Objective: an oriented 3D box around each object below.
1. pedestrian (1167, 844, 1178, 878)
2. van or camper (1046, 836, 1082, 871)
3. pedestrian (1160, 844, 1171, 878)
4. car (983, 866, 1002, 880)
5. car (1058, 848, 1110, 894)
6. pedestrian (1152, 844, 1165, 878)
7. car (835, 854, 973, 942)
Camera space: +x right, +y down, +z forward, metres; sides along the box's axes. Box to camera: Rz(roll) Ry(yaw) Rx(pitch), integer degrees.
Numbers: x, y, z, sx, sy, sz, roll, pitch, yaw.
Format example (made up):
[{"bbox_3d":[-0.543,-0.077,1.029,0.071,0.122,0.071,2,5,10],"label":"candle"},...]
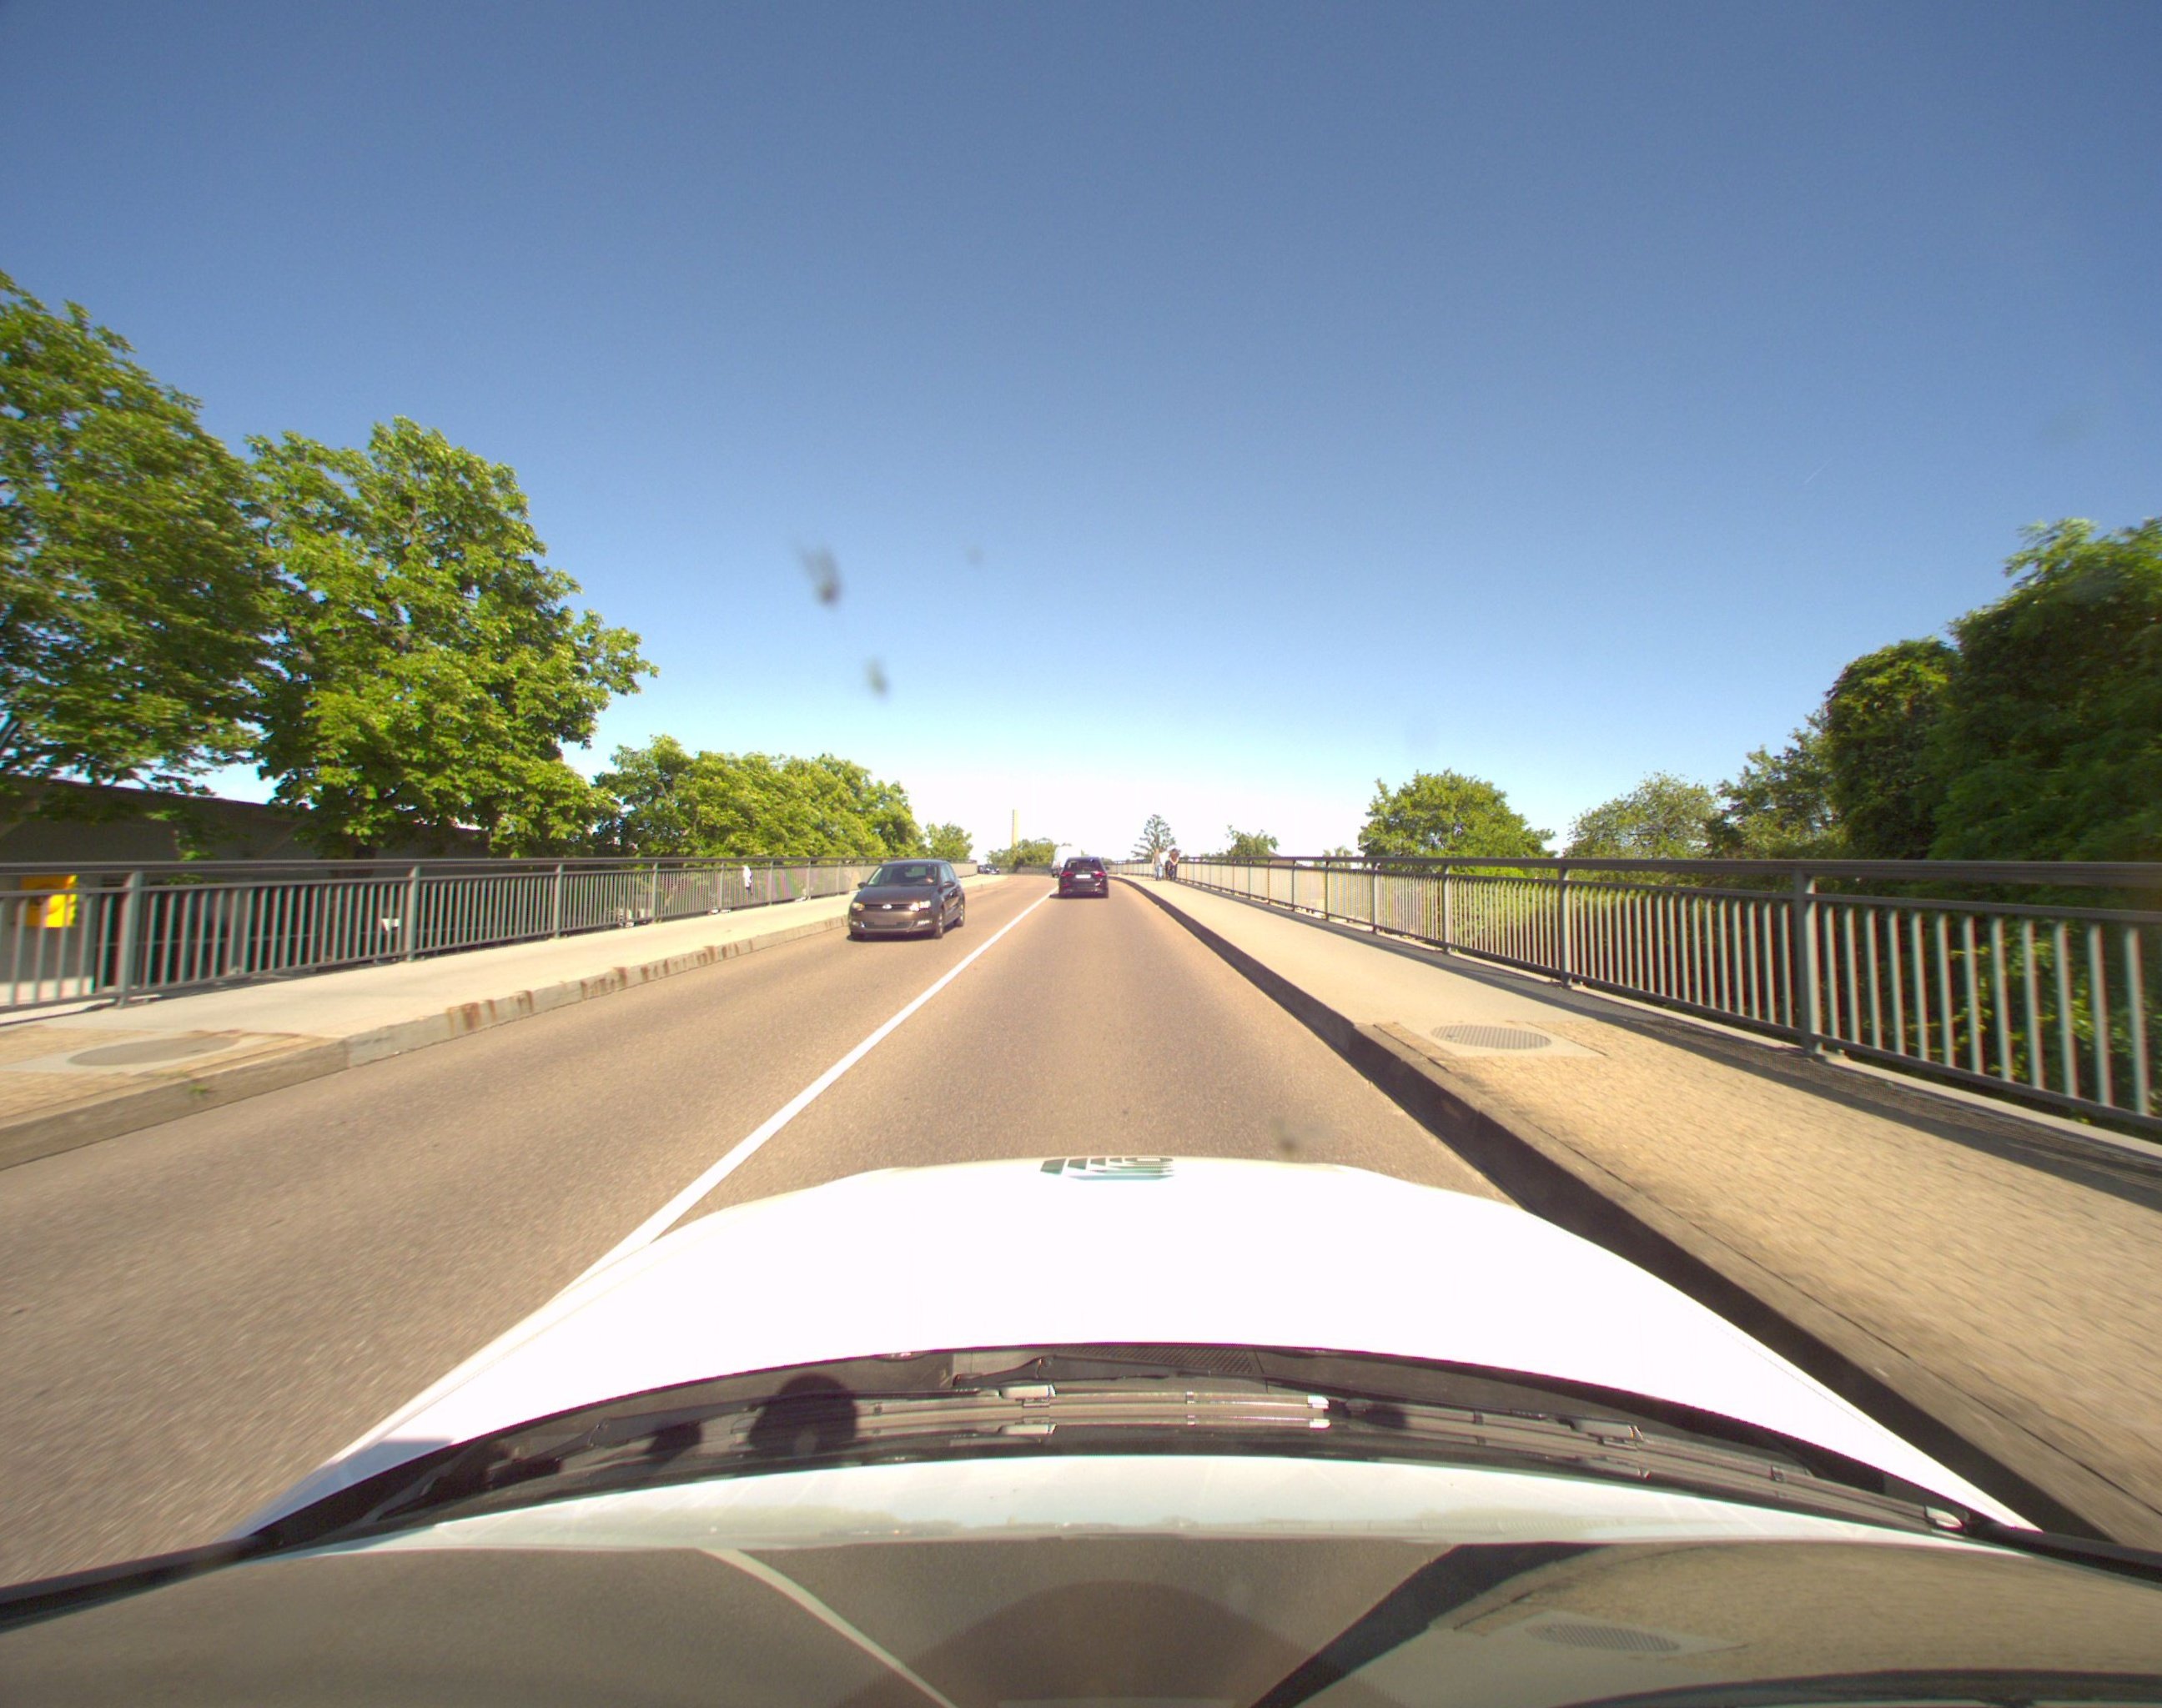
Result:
[{"bbox_3d":[4.737,0.363,42.230,0.470,1.750,0.654,1,-3,1],"label":"pedestrian"},{"bbox_3d":[-1.608,0.022,71.760,2.225,2.740,7.056,1,-2,-9],"label":"van or camper"},{"bbox_3d":[4.449,0.391,42.947,0.547,1.750,0.738,1,-3,1],"label":"pedestrian"},{"bbox_3d":[-10.466,2.267,96.271,1.764,1.593,3.989,1,0,1],"label":"car"},{"bbox_3d":[0.048,0.602,30.076,1.765,1.593,3.985,1,0,-2],"label":"car"},{"bbox_3d":[4.000,0.377,42.104,0.600,1.750,0.717,1,-3,1],"label":"pedestrian"},{"bbox_3d":[-3.314,0.770,16.045,1.764,1.474,3.989,-1,0,0],"label":"car"}]
